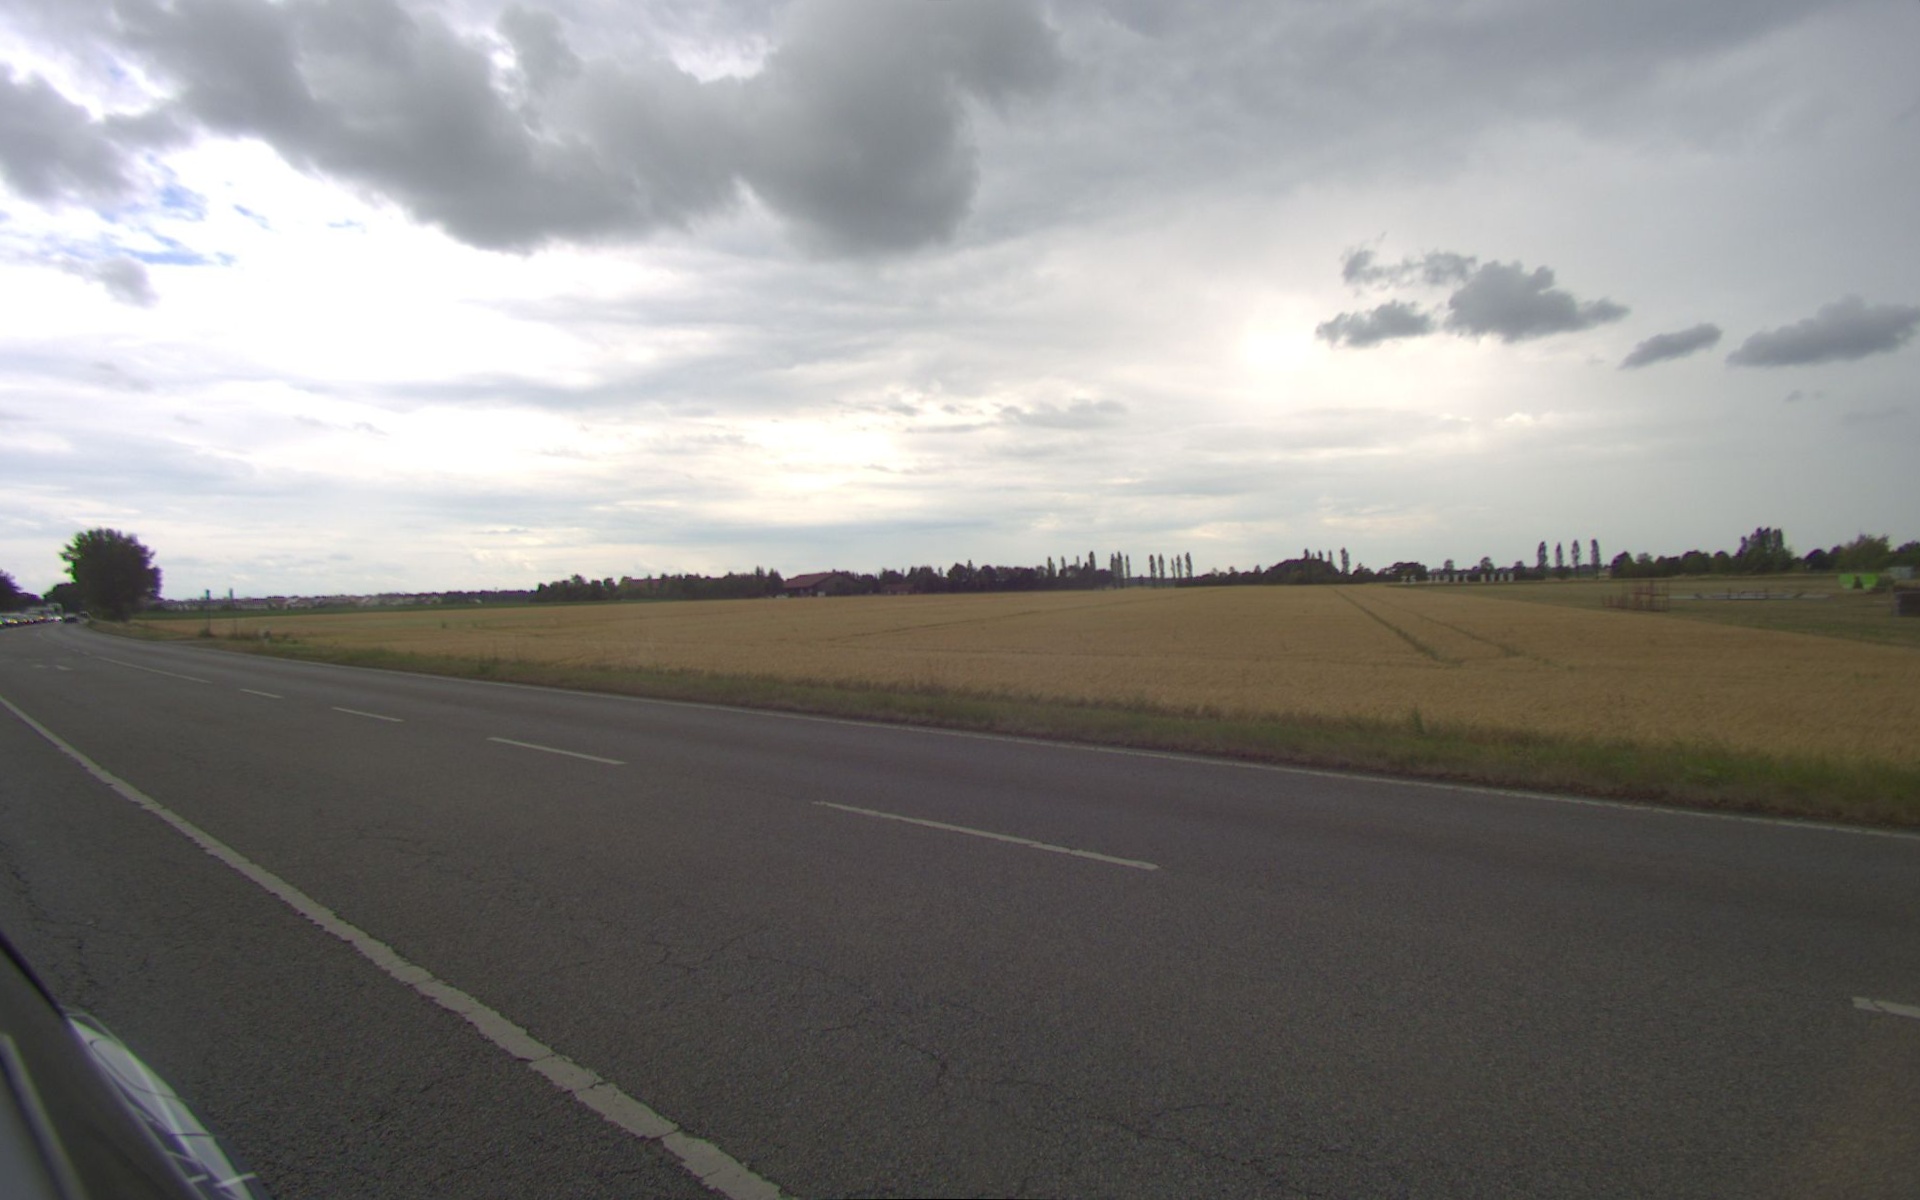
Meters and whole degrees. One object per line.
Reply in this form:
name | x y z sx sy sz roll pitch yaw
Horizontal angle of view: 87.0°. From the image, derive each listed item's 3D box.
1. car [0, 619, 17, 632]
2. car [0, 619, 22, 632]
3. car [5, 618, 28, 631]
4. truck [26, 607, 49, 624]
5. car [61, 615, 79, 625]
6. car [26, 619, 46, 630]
car | -113.772 3.034 120.555 1.766 1.595 4.145 -1 -1 -38
car | -118.172 3.128 125.743 1.924 1.595 4.146 -1 -1 -36
car | -124.595 3.211 133.646 1.766 1.595 4.146 -1 -1 -37
truck | -158.025 2.671 173.420 2.284 2.786 7.689 -1 0 -38
car | -137.451 3.063 156.299 1.803 1.421 4.434 -1 0 -37
car | -141.111 3.743 154.600 1.765 1.551 4.146 -1 -1 -36
